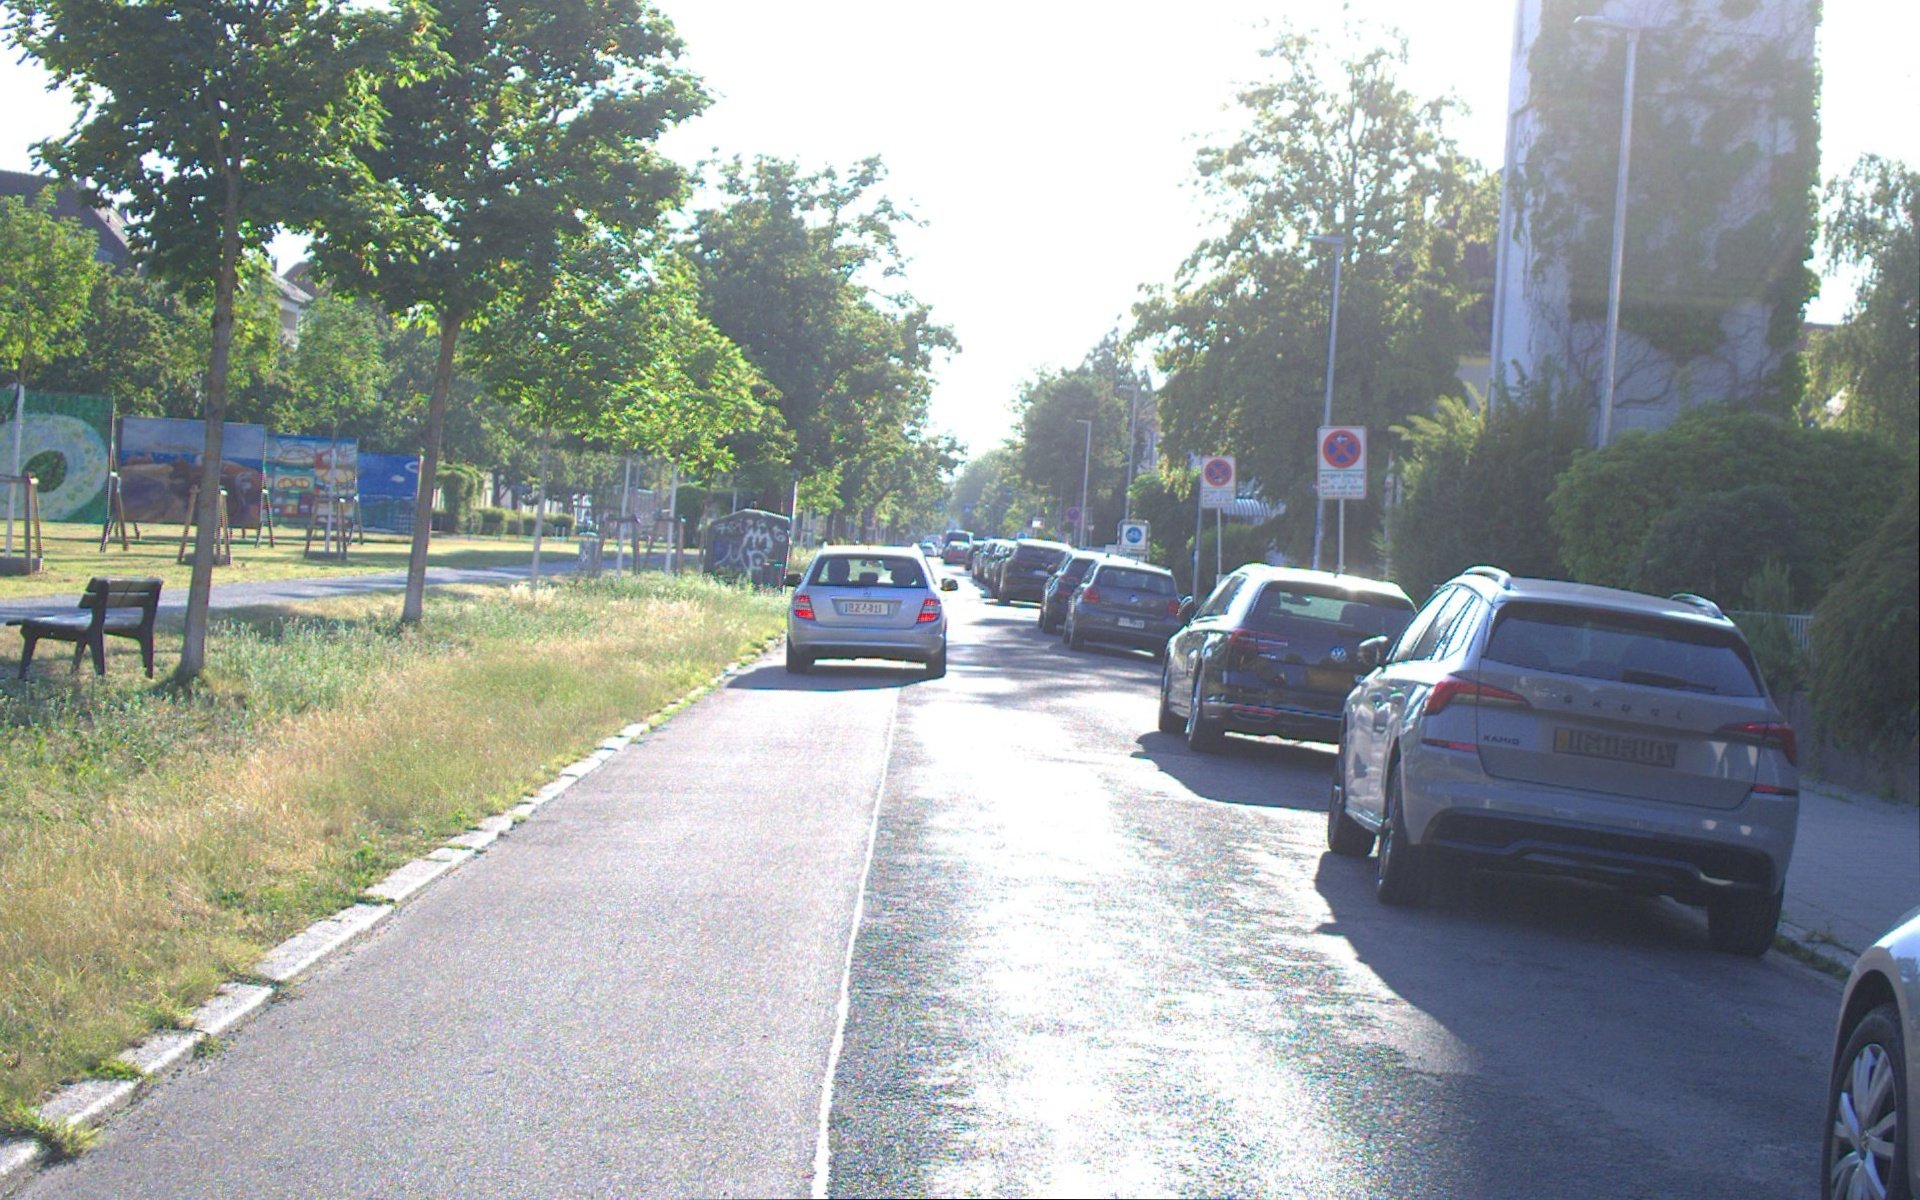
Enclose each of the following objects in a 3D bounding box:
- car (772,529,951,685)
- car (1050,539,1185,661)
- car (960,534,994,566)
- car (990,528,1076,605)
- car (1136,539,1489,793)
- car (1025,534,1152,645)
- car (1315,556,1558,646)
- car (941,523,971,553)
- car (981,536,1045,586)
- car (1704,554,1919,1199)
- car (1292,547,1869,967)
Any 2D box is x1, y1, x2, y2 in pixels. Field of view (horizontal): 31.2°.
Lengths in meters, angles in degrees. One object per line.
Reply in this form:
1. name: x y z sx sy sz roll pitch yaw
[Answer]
1. car: -1.056 0.033 38.593 1.823 1.561 4.000 3 1 0
2. car: 2.387 -0.039 52.893 1.687 1.522 4.175 8 2 0
3. car: 0.913 -2.714 186.324 1.721 1.591 4.000 3 0 0
4. car: 1.843 -0.846 87.852 1.832 1.726 5.032 6 0 -1
5. car: 2.693 0.465 27.469 1.993 1.592 4.887 8 0 -2
6. car: 2.194 -0.221 59.825 1.822 1.555 4.622 10 1 0
7. car: 10.256 0.038 74.251 4.846 1.481 2.002 5 -2 -1
8. car: -0.290 -4.413 244.684 1.988 2.016 4.000 4 1 0
9. car: 1.779 -1.323 115.976 1.994 1.457 4.561 5 1 1
10. car: 2.896 0.876 6.176 1.911 1.554 4.567 8 2 0
11. car: 2.806 0.653 16.594 1.883 1.531 4.462 7 0 1
